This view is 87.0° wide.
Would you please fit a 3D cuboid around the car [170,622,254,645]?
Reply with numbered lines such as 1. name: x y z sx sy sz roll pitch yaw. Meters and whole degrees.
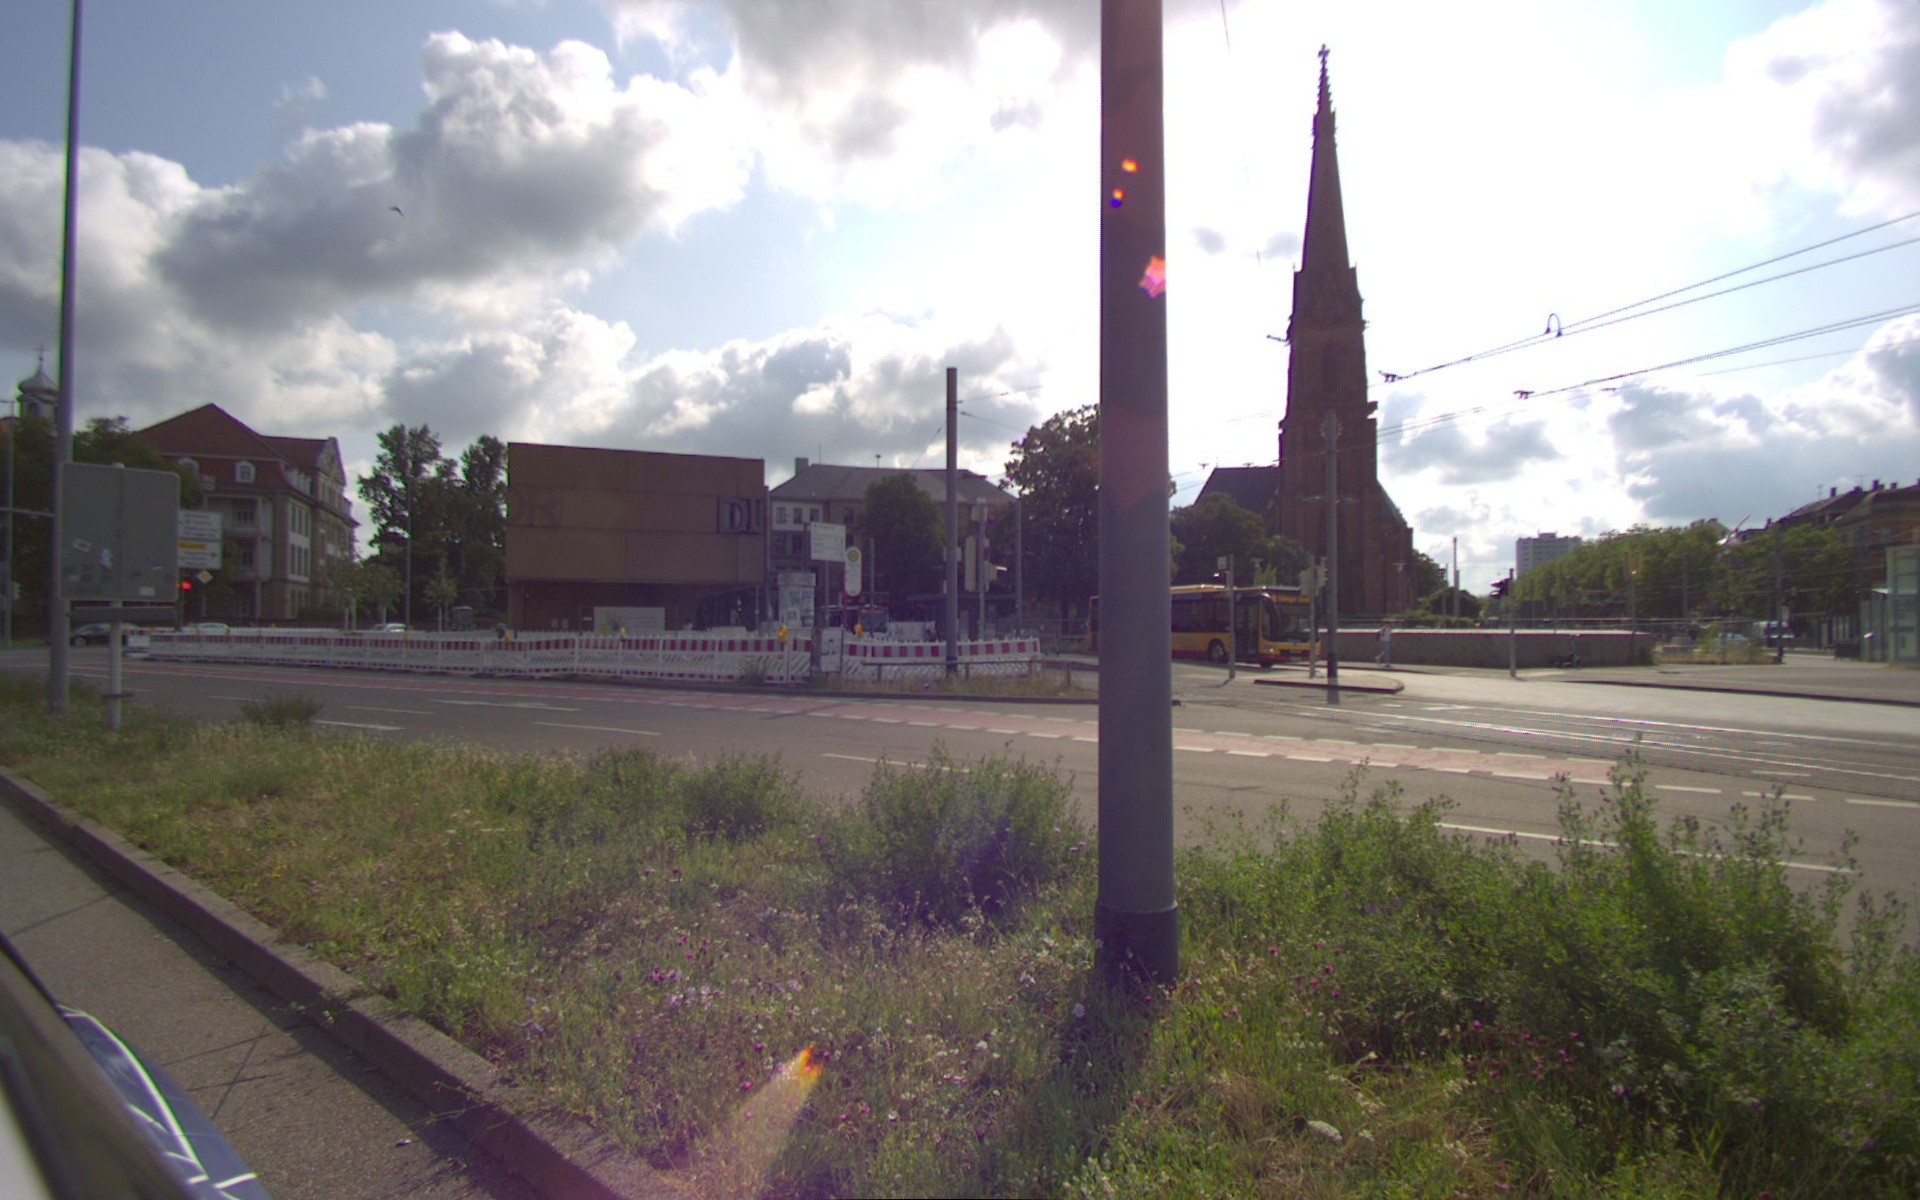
1. car: -46.787 2.108 63.406 1.741 1.401 4.115 -1 -2 11

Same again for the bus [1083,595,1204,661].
1. bus: 7.648 1.196 42.748 2.654 2.607 5.094 1 -2 -23

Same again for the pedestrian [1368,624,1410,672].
1. pedestrian: 16.559 1.829 39.053 0.914 1.701 1.101 -5 4 -24

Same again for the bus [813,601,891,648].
1. bus: -8.933 2.003 81.902 2.913 3.534 12.293 1 -2 -22

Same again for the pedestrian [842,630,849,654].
1. pedestrian: -7.820 2.867 68.847 0.352 1.614 0.365 0 -1 -29

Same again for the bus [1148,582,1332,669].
1. bus: 9.997 0.949 37.079 2.653 2.855 7.123 1 -2 -22

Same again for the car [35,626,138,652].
1. car: -48.243 2.134 56.009 1.741 1.401 4.115 -1 -2 11

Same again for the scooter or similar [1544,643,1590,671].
1. scooter or similar: 21.577 2.010 35.977 1.635 0.957 0.475 1 -2 -21

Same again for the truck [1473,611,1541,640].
1. truck: 71.651 3.377 132.616 7.387 3.676 2.457 -1 -2 18

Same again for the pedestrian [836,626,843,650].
1. pedestrian: -8.186 2.570 68.765 0.352 1.614 0.365 1 -2 -29
